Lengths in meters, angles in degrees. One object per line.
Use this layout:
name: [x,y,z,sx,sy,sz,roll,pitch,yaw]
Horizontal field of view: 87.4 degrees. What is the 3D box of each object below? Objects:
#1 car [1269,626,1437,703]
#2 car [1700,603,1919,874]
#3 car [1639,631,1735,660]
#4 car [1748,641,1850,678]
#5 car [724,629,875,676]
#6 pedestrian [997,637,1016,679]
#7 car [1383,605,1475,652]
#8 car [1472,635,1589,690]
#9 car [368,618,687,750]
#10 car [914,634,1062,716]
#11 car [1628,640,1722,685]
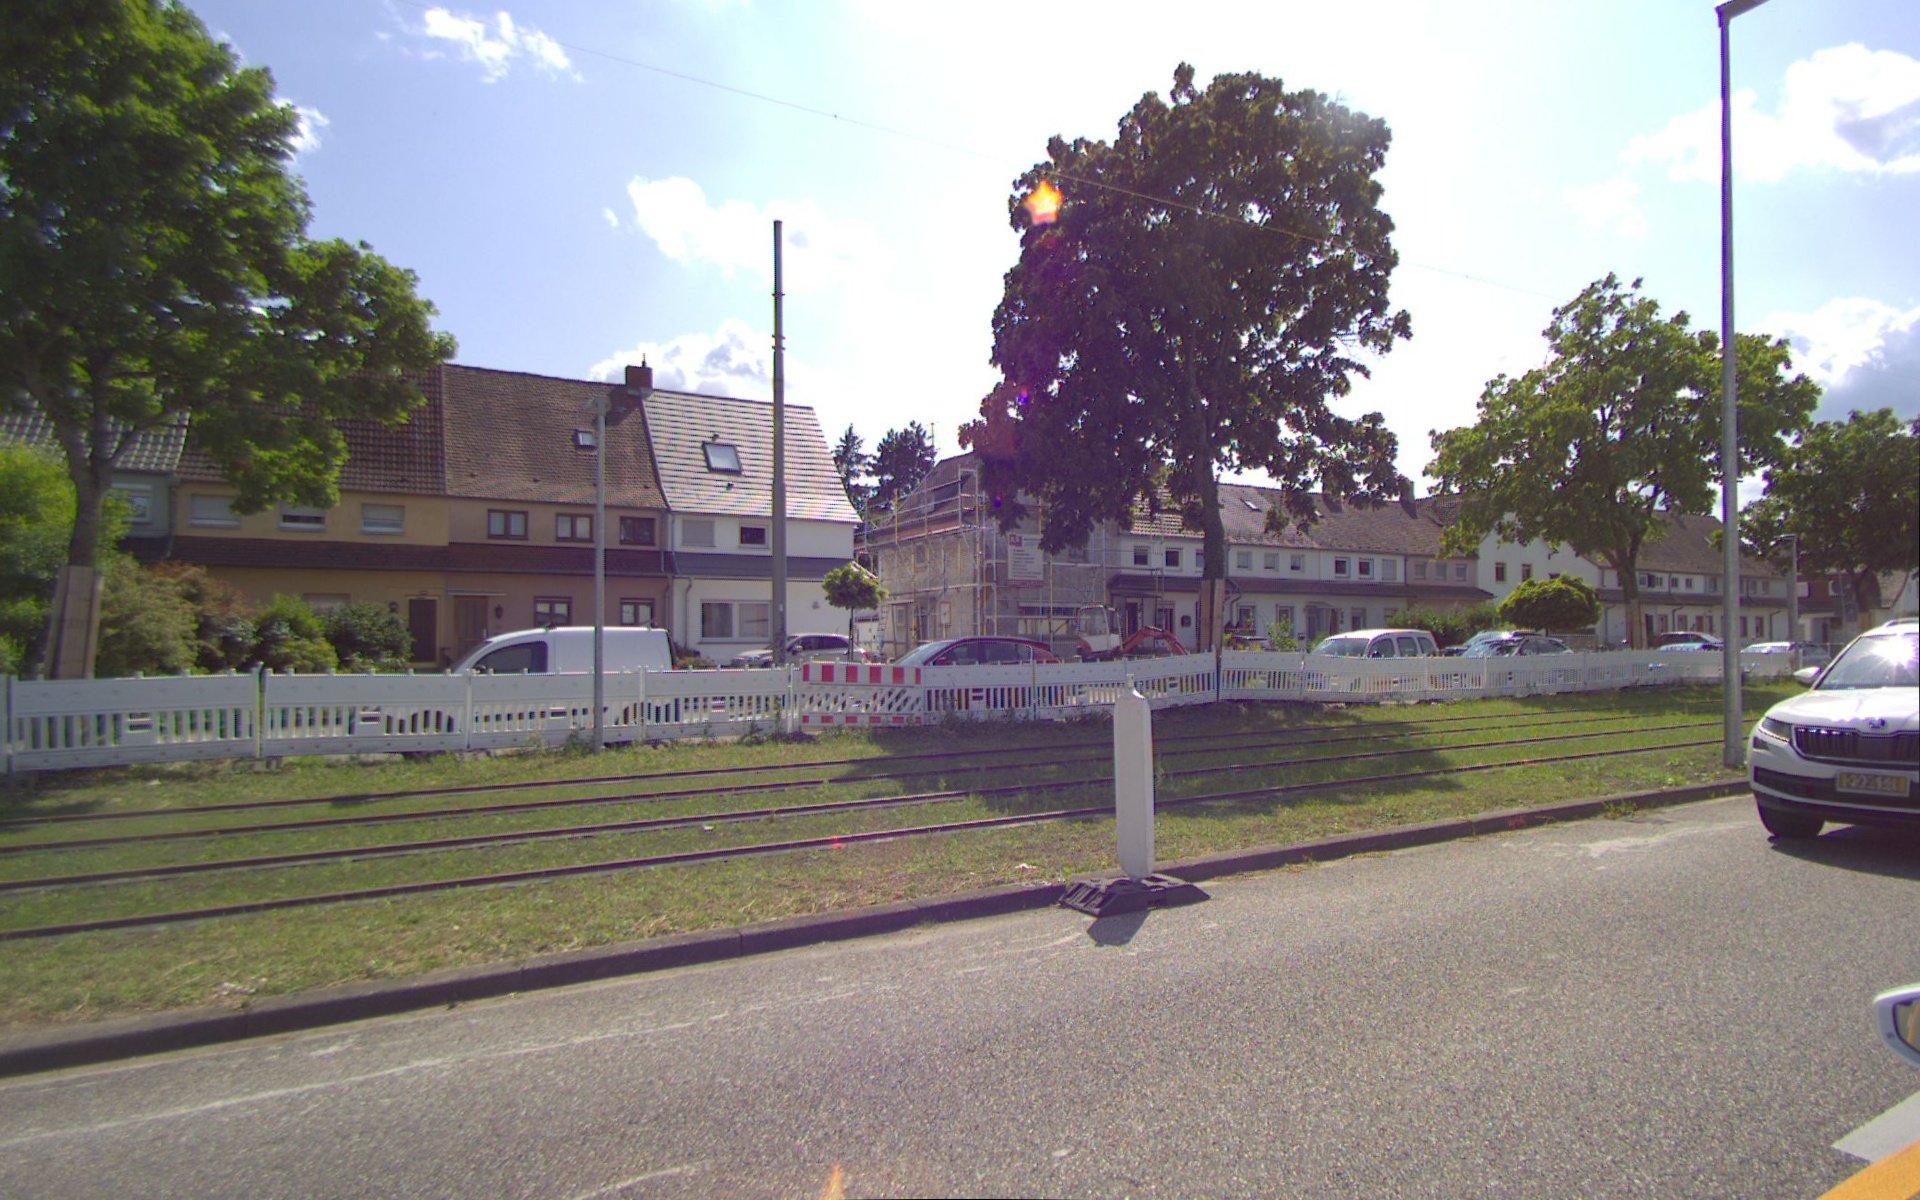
car: [9.183,1.494,23.417,3.853,1.673,1.615,2,-4,-30]
car: [7.767,0.944,7.649,4.410,1.687,1.816,2,-4,-30]
car: [40.156,2.520,55.553,1.706,1.529,3.967,1,-3,-30]
car: [28.691,2.019,34.333,3.704,1.192,1.496,1,-2,-30]
car: [-4.642,1.531,29.182,4.072,1.291,1.527,2,-4,-30]
pedestrian: [1.570,1.958,34.075,0.465,1.394,0.420,2,-1,-30]
car: [21.660,1.311,46.354,3.954,2.040,1.984,2,-1,-31]
car: [15.280,1.666,26.882,3.078,1.395,1.344,2,-4,-30]
car: [-6.059,1.146,14.248,3.954,1.647,1.646,2,-4,-30]
car: [0.507,1.316,17.801,2.416,1.365,1.069,2,-3,-26]
car: [22.574,1.953,31.693,3.135,1.342,1.333,1,-2,-32]
